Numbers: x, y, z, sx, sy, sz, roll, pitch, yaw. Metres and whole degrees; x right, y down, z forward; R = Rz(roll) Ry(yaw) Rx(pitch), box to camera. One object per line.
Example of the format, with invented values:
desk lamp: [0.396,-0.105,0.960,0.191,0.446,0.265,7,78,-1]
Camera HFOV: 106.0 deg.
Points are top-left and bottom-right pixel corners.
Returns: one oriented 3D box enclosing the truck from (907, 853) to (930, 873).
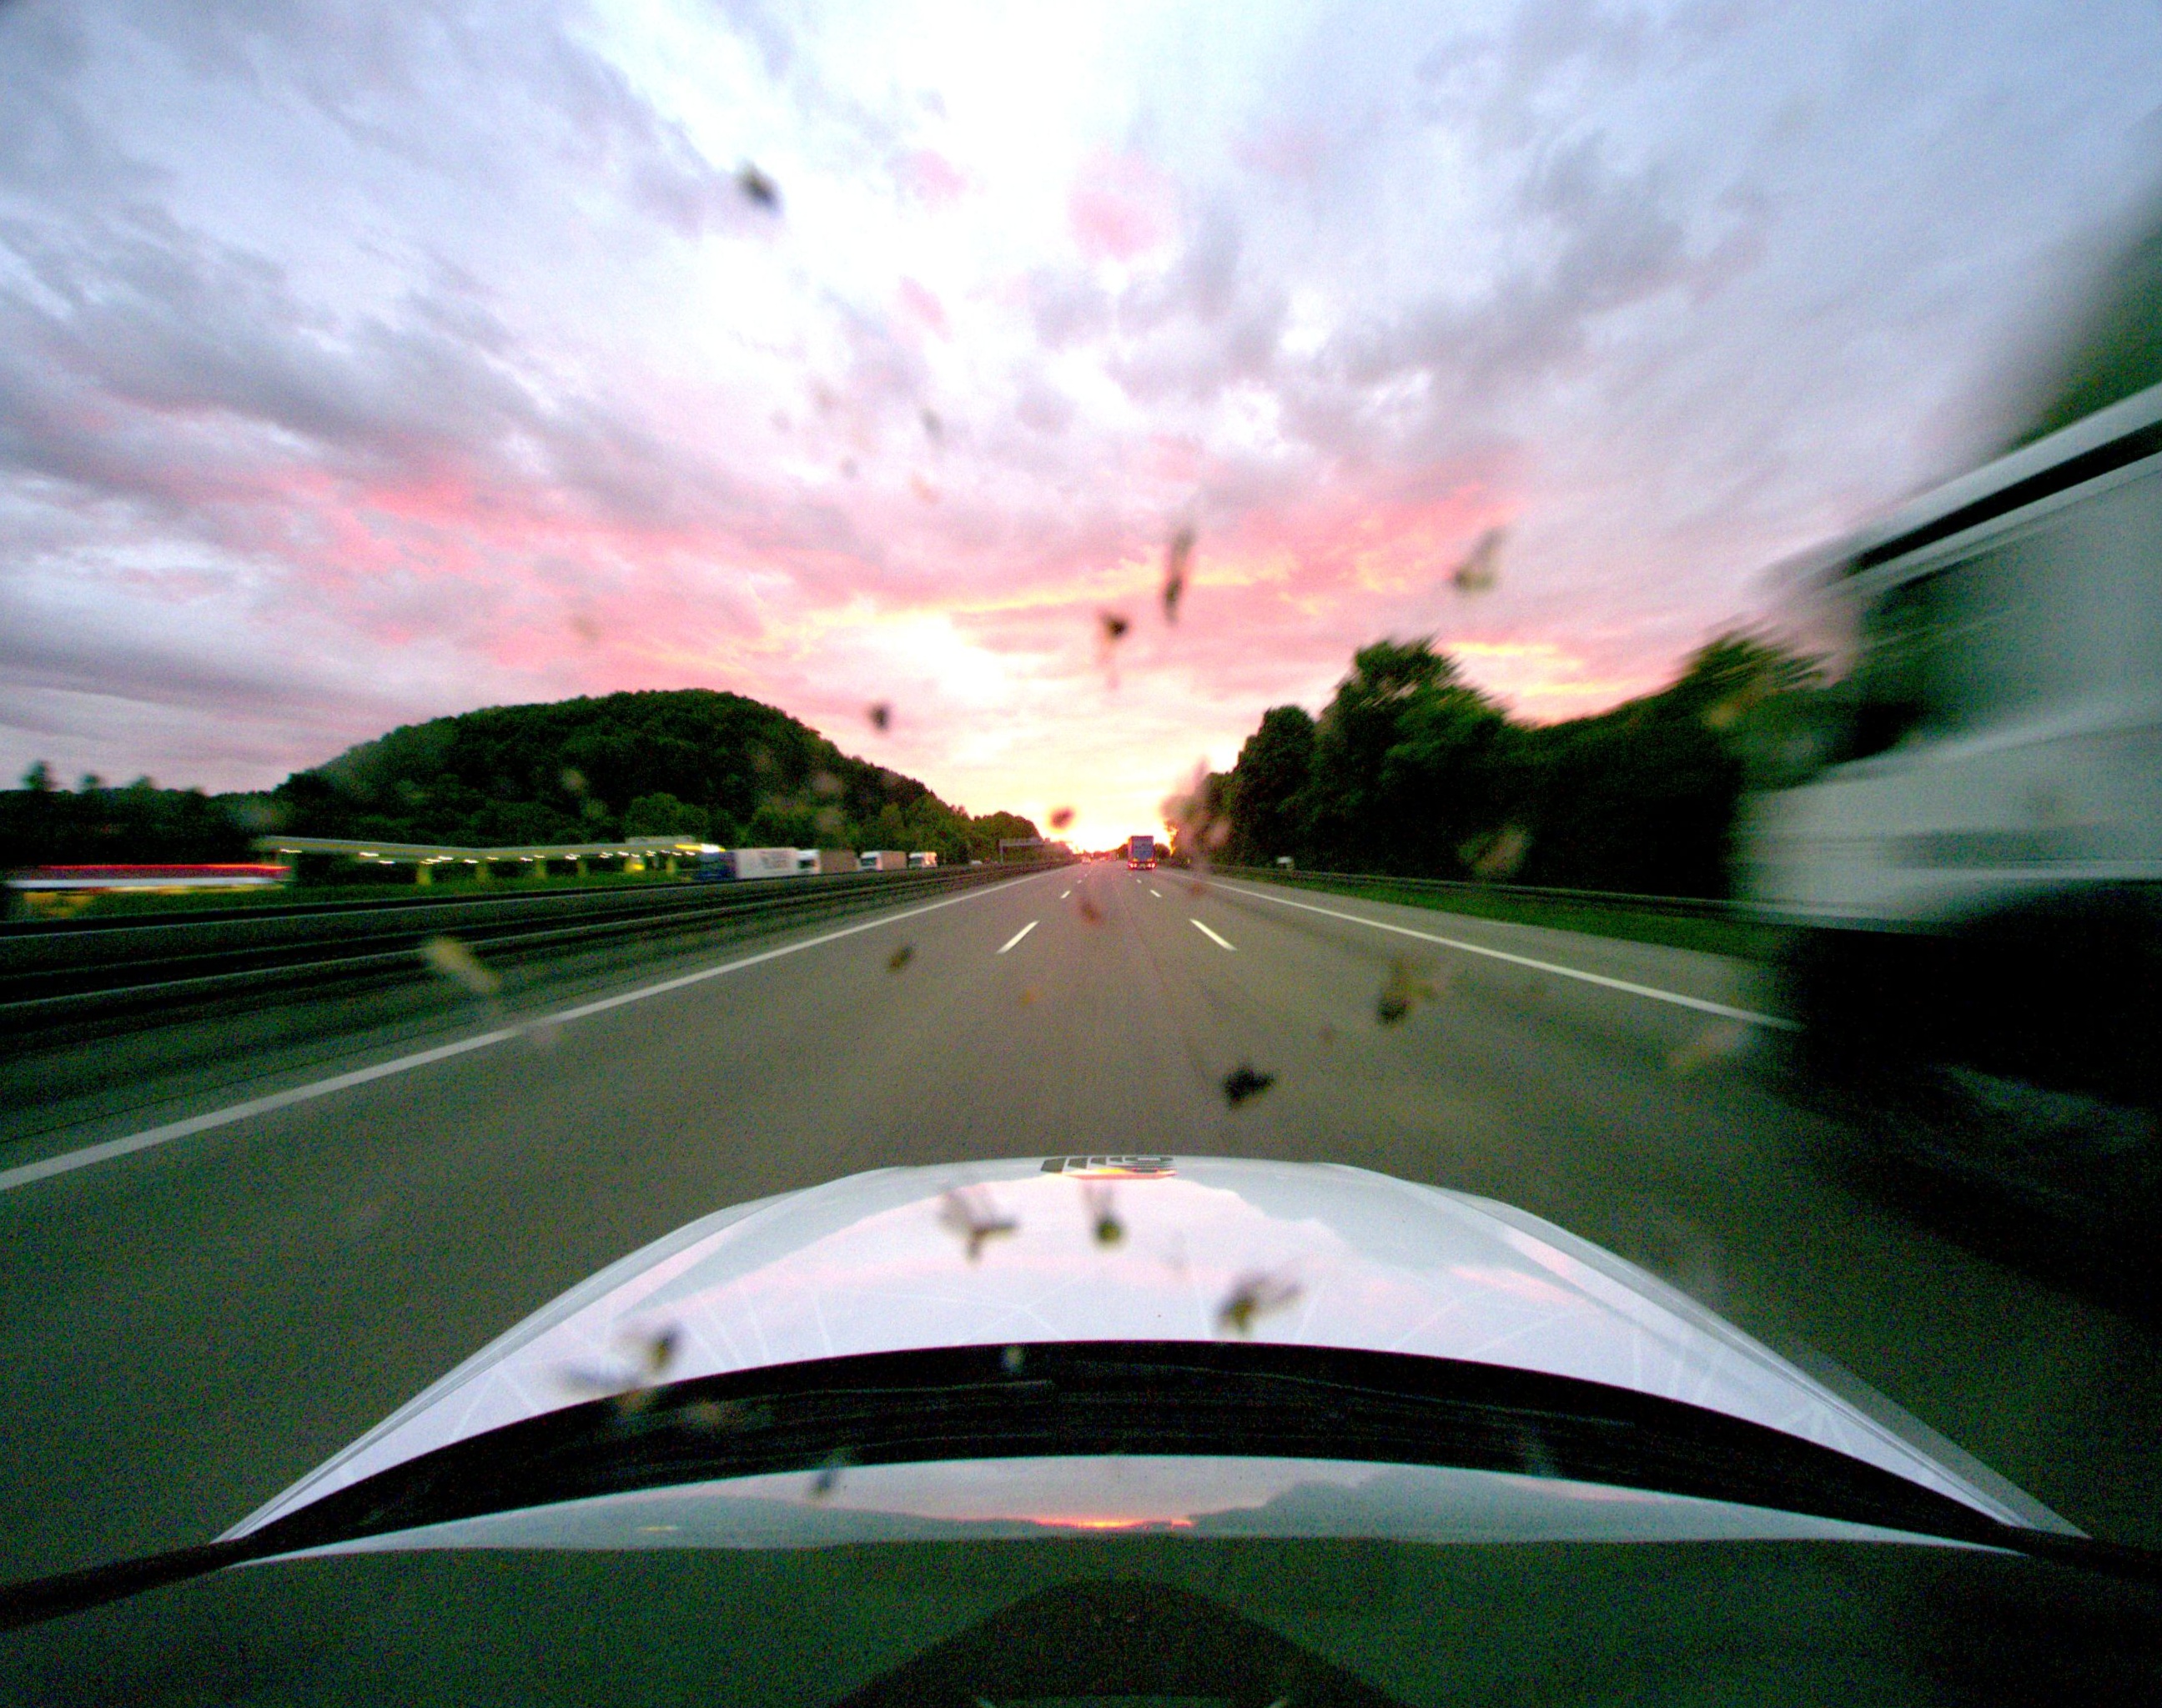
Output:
truck: [-28.381,1.556,142.492,2.866,3.425,6.720,-1,0,-2]

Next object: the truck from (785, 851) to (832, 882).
truck: [-31.153,1.361,93.297,2.862,3.425,6.730,-1,0,2]

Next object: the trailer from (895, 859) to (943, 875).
trailer: [-39.031,3.116,196.967,3.032,3.679,13.427,-1,0,31]

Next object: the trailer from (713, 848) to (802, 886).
trailer: [-31.716,1.245,80.698,2.861,3.425,13.233,-1,0,3]

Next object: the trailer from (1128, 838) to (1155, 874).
trailer: [7.344,0.320,100.507,2.761,4.086,13.745,0,-1,2]

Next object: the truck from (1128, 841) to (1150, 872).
truck: [7.658,0.392,107.527,2.725,3.997,5.853,0,-1,3]

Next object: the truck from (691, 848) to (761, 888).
truck: [-32.066,1.242,73.860,2.861,3.376,7.179,-1,0,3]

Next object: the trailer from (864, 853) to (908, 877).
trailer: [-29.788,1.656,125.307,2.862,3.425,13.857,-1,0,2]

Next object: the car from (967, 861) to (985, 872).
car: [-16.260,1.933,125.754,1.986,1.593,4.742,-1,0,2]

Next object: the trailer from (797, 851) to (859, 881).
trailer: [-30.852,1.385,100.244,2.862,3.425,13.578,-1,0,2]

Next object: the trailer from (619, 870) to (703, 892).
trailer: [-74.756,4.751,145.552,2.903,3.519,13.505,-2,-1,35]

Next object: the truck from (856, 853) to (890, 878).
truck: [-30.091,1.618,118.249,2.862,3.425,6.730,-1,0,3]

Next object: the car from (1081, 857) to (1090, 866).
car: [1.011,1.635,182.325,2.006,1.749,3.903,-4,-1,1]
